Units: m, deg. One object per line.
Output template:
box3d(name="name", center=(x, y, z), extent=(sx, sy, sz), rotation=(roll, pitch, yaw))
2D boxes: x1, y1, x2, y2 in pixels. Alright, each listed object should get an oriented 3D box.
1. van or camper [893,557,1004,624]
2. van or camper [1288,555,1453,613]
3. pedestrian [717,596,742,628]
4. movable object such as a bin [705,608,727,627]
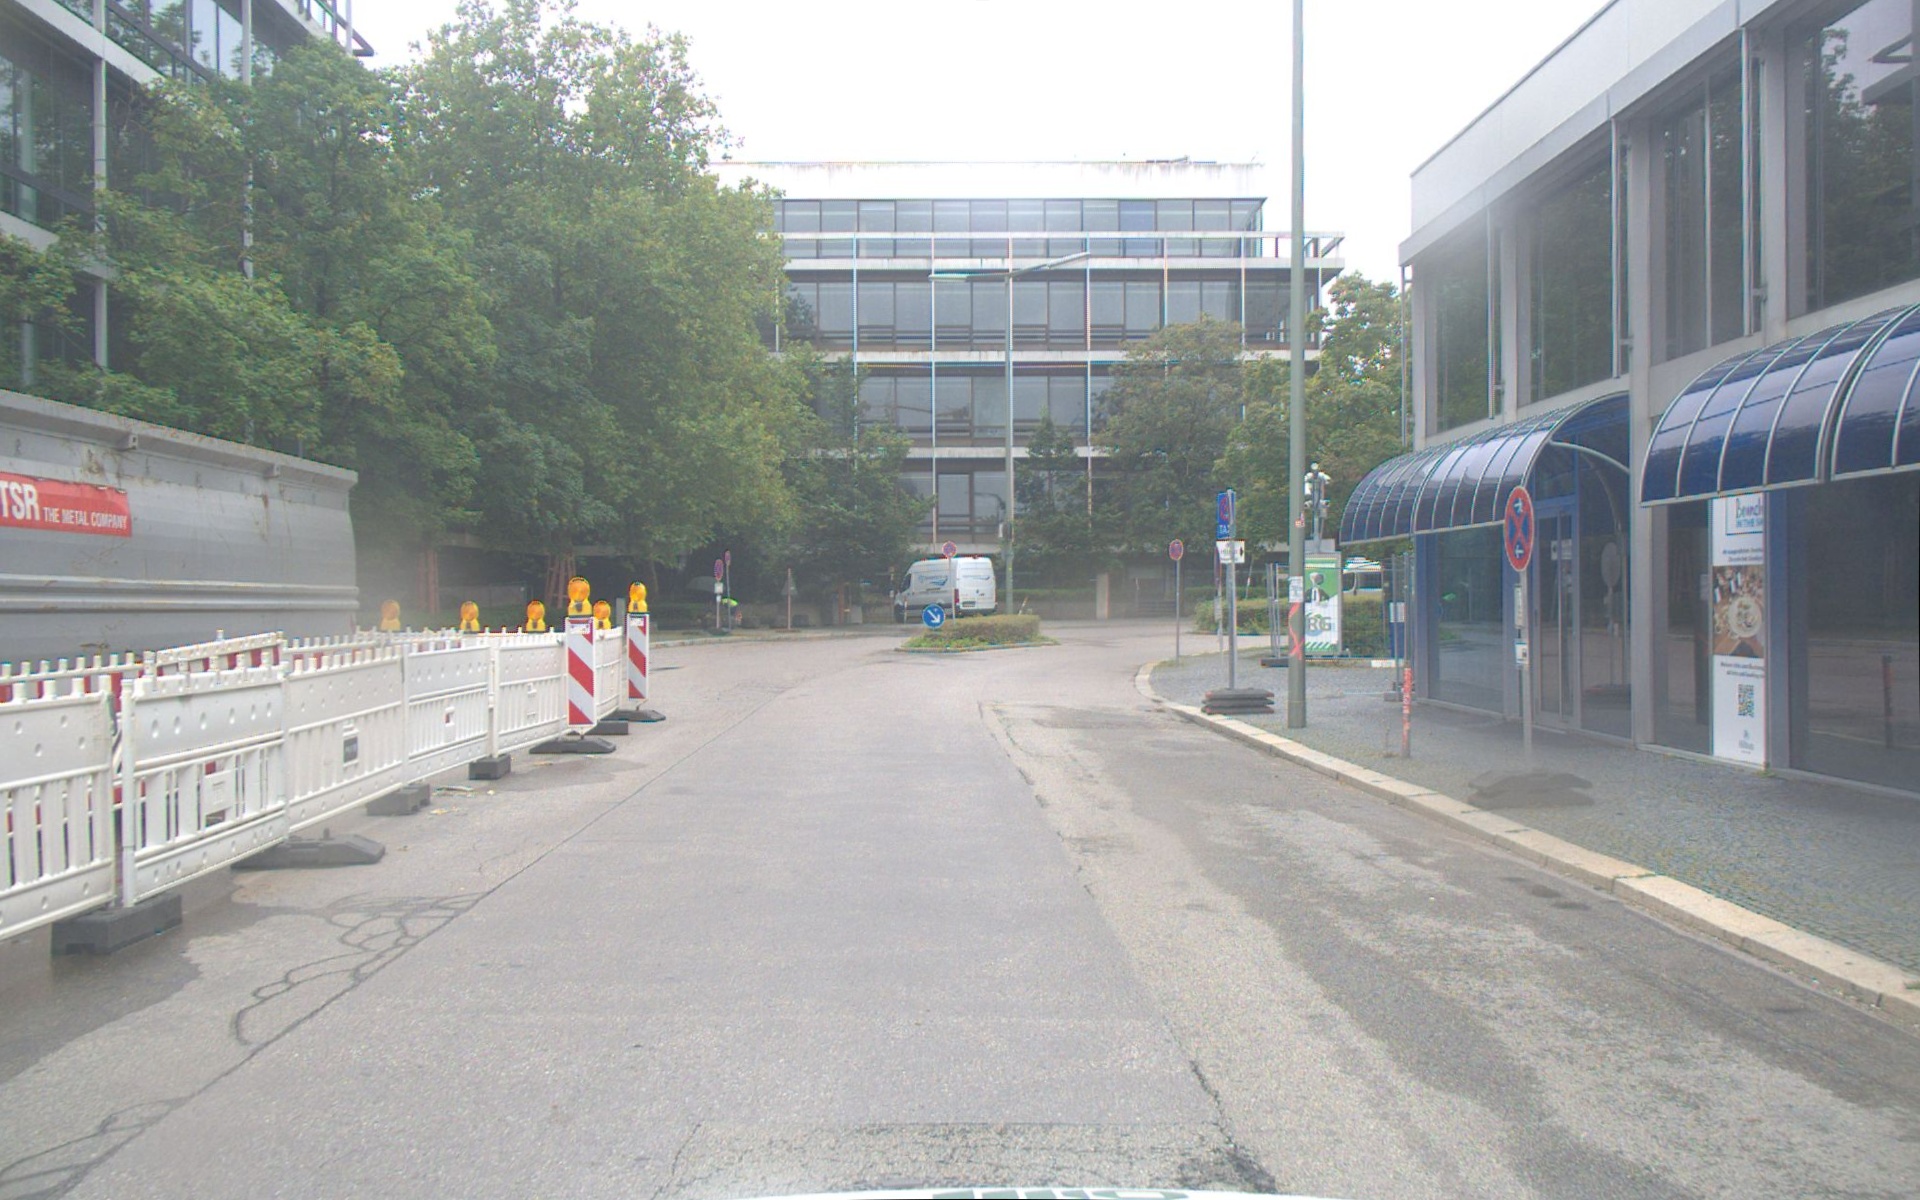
box3d(name="van or camper", center=(-0.573, -0.333, 70.103), extent=(2.130, 2.626, 6.482), rotation=(0, -2, -26))
box3d(name="van or camper", center=(16.767, -0.657, 67.559), extent=(6.292, 2.321, 2.246), rotation=(0, 0, -15))
box3d(name="pedestrian", center=(-9.434, 0.473, 67.733), extent=(0.907, 1.300, 0.542), rotation=(0, 0, 1))
box3d(name="movable object such as a bin", center=(-9.989, 0.727, 67.683), extent=(0.817, 0.766, 0.572), rotation=(0, 0, 1))
